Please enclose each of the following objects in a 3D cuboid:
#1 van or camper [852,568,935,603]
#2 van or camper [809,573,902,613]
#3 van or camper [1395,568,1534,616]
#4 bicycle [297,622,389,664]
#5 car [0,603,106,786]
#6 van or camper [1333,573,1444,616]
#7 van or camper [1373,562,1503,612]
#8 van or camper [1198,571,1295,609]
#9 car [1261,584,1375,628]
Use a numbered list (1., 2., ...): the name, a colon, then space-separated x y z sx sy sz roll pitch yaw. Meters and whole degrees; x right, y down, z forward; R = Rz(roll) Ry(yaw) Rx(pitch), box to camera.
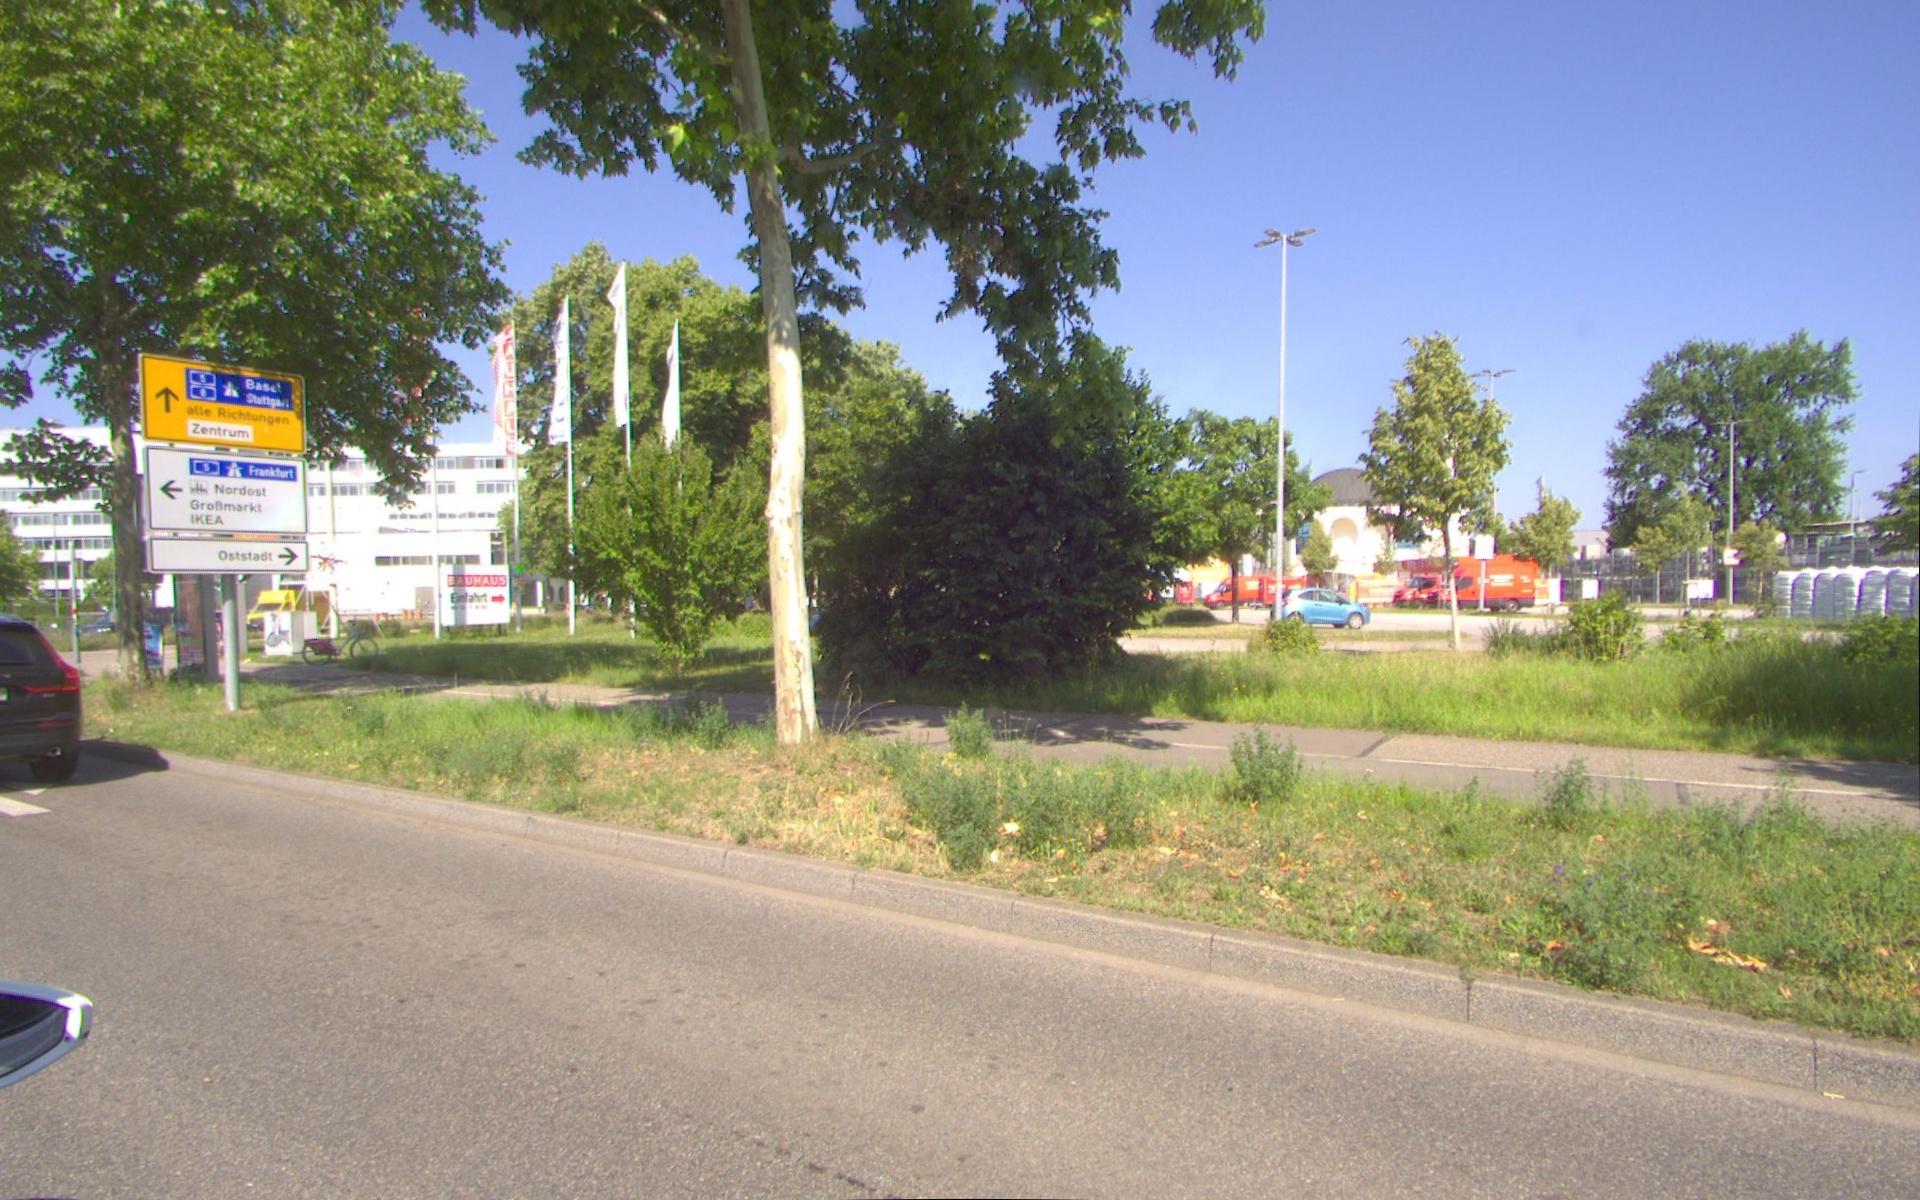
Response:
1. van or camper: -5.799 -1.255 87.482 7.145 2.979 2.001 0 -1 -2
2. van or camper: -8.145 -0.532 78.368 7.145 2.979 2.001 0 -1 -2
3. van or camper: 29.416 -0.454 58.550 7.145 2.739 2.001 0 -1 -2
4. bicycle: -16.316 1.123 26.505 1.985 1.027 0.615 -1 1 -41
5. car: -10.404 0.871 9.836 4.371 1.611 1.872 -1 -2 32
6. van or camper: 30.675 -0.368 71.784 7.145 2.979 2.001 0 -1 -2
7. van or camper: 29.691 -0.778 62.300 7.145 2.979 2.001 0 -1 -2
8. van or camper: 22.951 -0.759 80.343 7.145 2.979 2.001 0 -1 -2
9. car: 13.193 0.246 37.058 3.580 1.561 1.753 0 -2 -3
